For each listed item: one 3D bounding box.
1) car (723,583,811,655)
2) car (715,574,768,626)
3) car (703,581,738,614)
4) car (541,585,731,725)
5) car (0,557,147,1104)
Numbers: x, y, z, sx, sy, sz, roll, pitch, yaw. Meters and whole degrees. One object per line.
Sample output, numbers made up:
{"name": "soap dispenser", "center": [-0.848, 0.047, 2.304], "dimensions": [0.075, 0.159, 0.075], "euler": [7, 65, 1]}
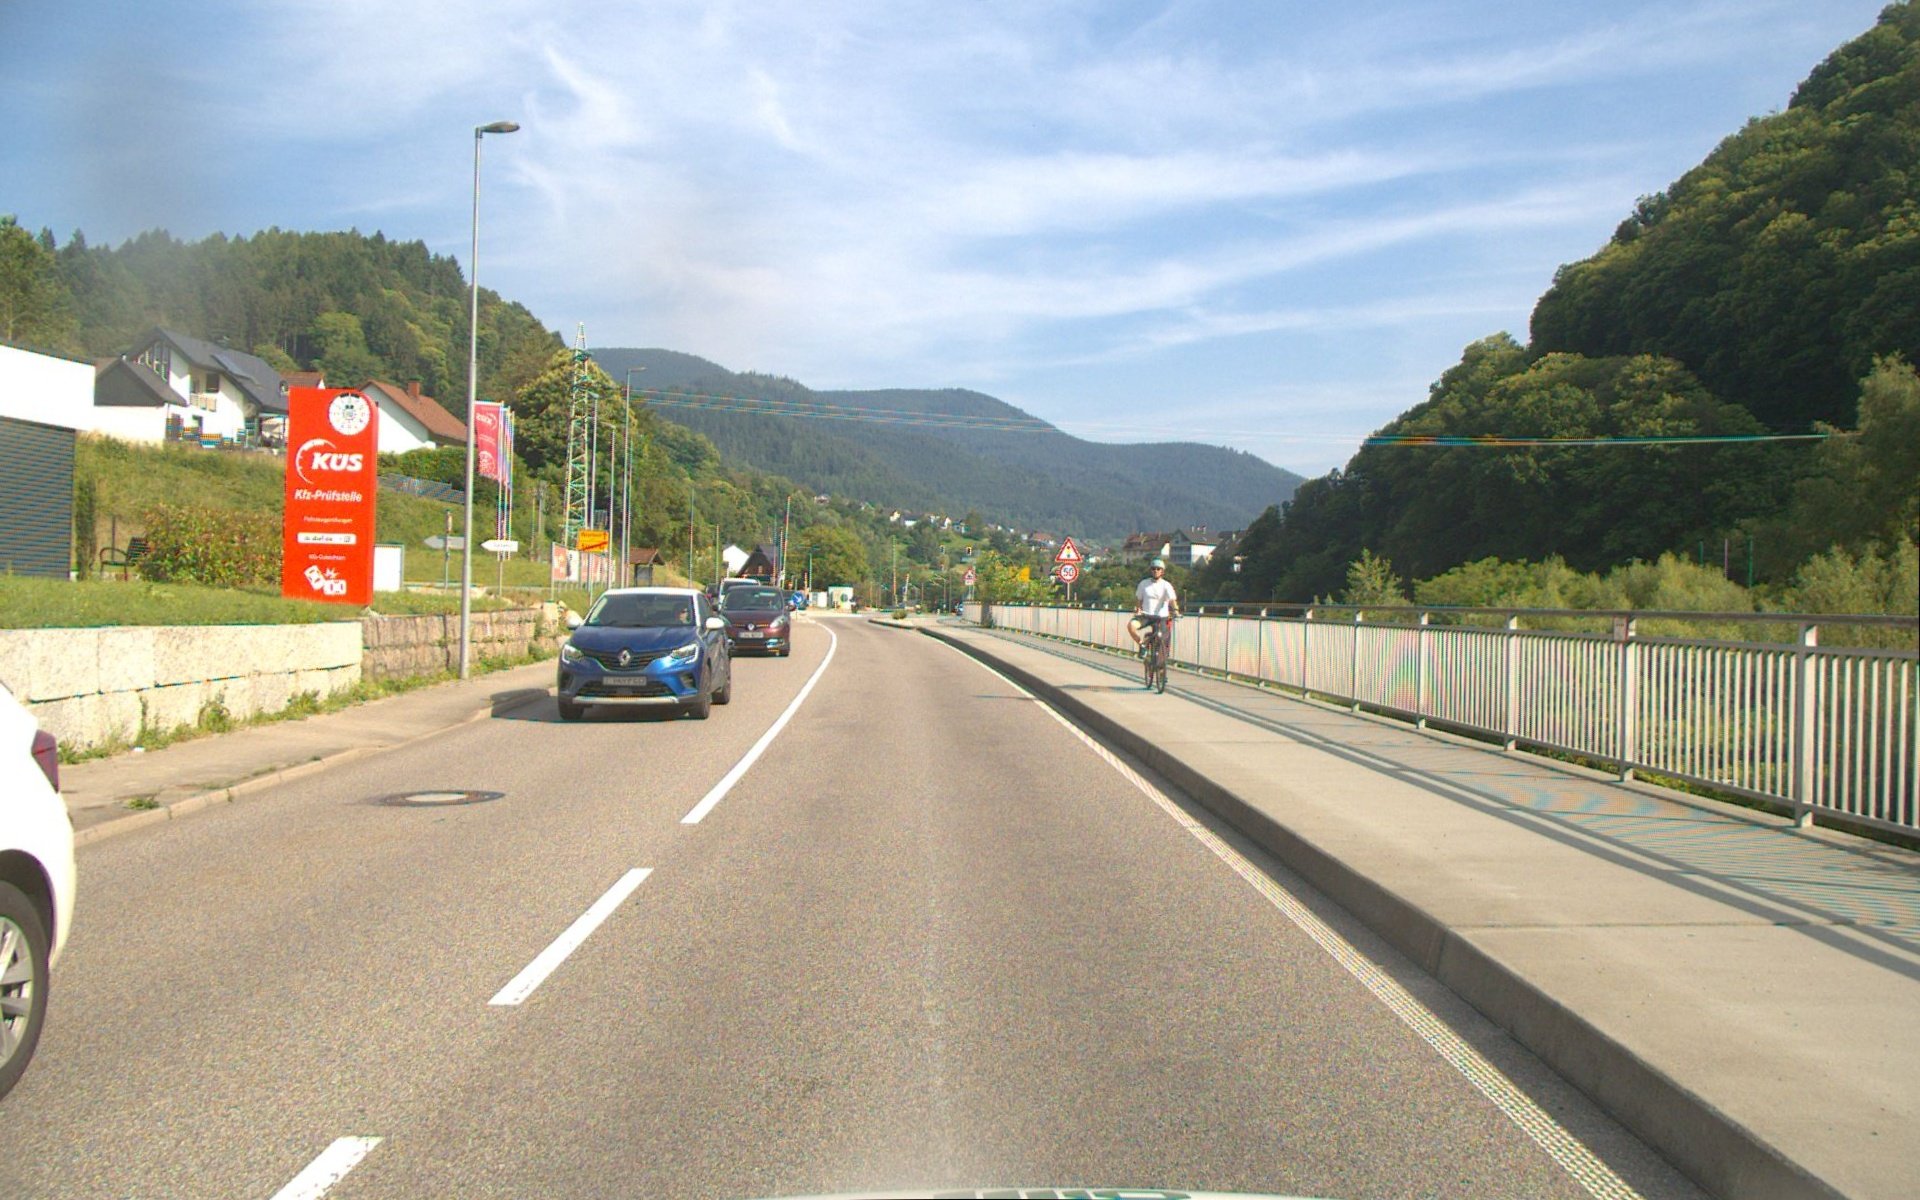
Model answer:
{"name": "car", "center": [-4.627, 0.420, 40.185], "dimensions": [1.761, 1.646, 4.461], "euler": [0, 1, -2]}
{"name": "car", "center": [-8.486, -0.025, 64.632], "dimensions": [1.859, 1.920, 5.289], "euler": [0, 0, -6]}
{"name": "car", "center": [-12.472, -0.126, 86.257], "dimensions": [1.673, 1.611, 4.152], "euler": [2, 0, -8]}
{"name": "car", "center": [-3.905, 0.595, 20.507], "dimensions": [1.709, 1.553, 3.998], "euler": [0, 0, -2]}
{"name": "car", "center": [-3.518, 0.647, 3.358], "dimensions": [1.713, 1.530, 4.190], "euler": [0, 0, -1]}
